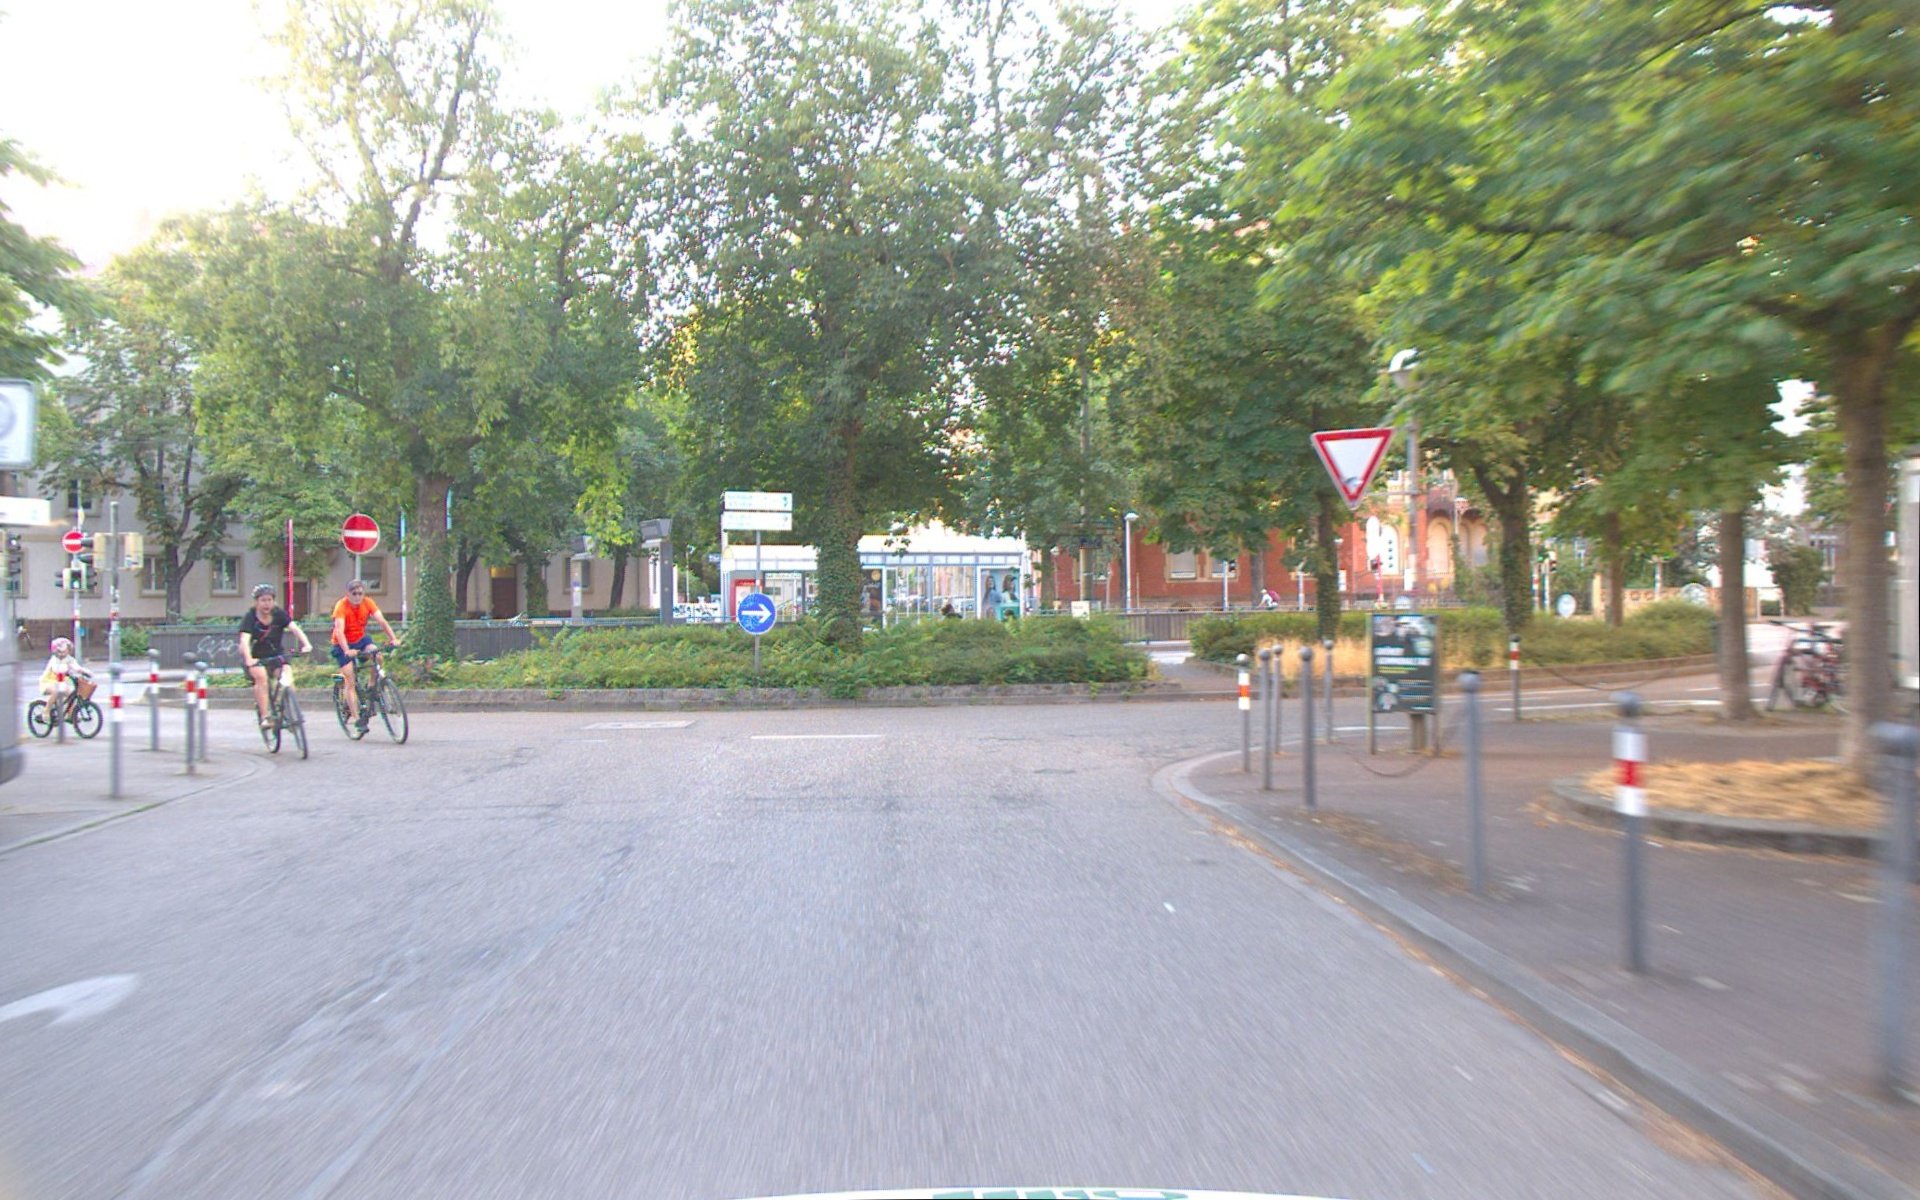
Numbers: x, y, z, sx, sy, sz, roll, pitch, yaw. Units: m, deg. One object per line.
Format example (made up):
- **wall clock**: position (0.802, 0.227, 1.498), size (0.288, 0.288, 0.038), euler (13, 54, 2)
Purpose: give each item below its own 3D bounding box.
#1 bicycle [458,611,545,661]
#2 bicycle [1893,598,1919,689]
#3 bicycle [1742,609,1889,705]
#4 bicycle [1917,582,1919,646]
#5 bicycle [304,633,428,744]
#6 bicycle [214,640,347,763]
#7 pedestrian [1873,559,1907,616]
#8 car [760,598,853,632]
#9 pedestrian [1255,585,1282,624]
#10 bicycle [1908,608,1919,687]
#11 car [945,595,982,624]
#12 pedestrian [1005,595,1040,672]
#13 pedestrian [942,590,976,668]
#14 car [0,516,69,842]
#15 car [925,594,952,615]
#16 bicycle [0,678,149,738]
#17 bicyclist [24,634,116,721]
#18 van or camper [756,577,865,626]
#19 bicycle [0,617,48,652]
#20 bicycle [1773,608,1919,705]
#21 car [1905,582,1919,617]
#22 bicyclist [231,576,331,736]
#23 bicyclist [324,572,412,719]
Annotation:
- **bicycle**: position (-10.395, 0.814, 37.495), size (1.826, 1.070, 0.542), euler (-1, 0, -25)
- **bicycle**: position (12.940, 0.556, 21.222), size (0.549, 1.168, 1.587), euler (-1, 0, -36)
- **bicycle**: position (9.928, 0.638, 19.238), size (0.425, 1.058, 1.595), euler (-1, 0, -24)
- **bicycle**: position (19.659, 0.257, 32.990), size (0.686, 1.258, 1.853), euler (-1, 0, 39)
- **bicycle**: position (-6.544, 0.940, 18.162), size (0.645, 1.126, 1.986), euler (-1, 0, -39)
- **bicycle**: position (-6.886, 0.990, 16.718), size (0.716, 1.126, 1.986), euler (-1, 0, -38)
- **pedestrian**: position (30.389, -0.416, 54.043), size (0.853, 1.826, 0.921), euler (-1, 0, 37)
- **car**: position (-8.209, 0.785, 88.328), size (4.857, 1.733, 1.997), euler (1, 0, -8)
- **pedestrian**: position (12.532, 0.191, 67.157), size (0.849, 1.552, 0.713), euler (-1, 0, 35)
- **bicycle**: position (13.287, 0.624, 21.489), size (0.549, 1.038, 1.587), euler (-1, 0, -36)
- **car**: position (0.190, 0.558, 101.215), size (1.954, 1.733, 4.716), euler (1, 0, -4)
- **pedestrian**: position (1.198, 0.631, 31.843), size (0.604, 1.456, 0.655), euler (-1, 0, -2)
- **pedestrian**: position (-0.015, 0.535, 31.400), size (0.604, 1.456, 0.655), euler (-1, 0, -2)
- **car**: position (-7.071, 0.502, 8.902), size (2.000, 2.093, 5.002), euler (1, 0, -3)
- **car**: position (-1.770, 0.365, 136.733), size (1.954, 1.733, 4.716), euler (1, 0, -4)
- **bicycle**: position (-10.521, 1.277, 19.666), size (1.428, 0.654, 0.652), euler (-1, 0, 5)
- **bicyclist**: position (-10.581, 0.915, 19.672), size (0.712, 0.994, 0.649), euler (-1, 0, 5)
- **van or camper**: position (-10.061, 0.109, 110.945), size (7.226, 3.137, 2.669), euler (1, 0, -8)
- **bicycle**: position (-33.063, 1.211, 57.890), size (0.671, 1.171, 1.916), euler (-1, 0, 31)
- **bicycle**: position (10.368, 0.631, 19.147), size (0.425, 1.058, 1.885), euler (-1, 0, -24)
- **car**: position (43.809, -0.061, 72.415), size (4.343, 1.536, 1.938), euler (-1, 0, -22)
- **bicyclist**: position (-6.840, 0.541, 16.652), size (0.709, 1.552, 0.855), euler (-1, 0, -39)
- **bicyclist**: position (-6.465, 0.483, 18.059), size (0.648, 1.552, 0.855), euler (-1, 0, -39)
